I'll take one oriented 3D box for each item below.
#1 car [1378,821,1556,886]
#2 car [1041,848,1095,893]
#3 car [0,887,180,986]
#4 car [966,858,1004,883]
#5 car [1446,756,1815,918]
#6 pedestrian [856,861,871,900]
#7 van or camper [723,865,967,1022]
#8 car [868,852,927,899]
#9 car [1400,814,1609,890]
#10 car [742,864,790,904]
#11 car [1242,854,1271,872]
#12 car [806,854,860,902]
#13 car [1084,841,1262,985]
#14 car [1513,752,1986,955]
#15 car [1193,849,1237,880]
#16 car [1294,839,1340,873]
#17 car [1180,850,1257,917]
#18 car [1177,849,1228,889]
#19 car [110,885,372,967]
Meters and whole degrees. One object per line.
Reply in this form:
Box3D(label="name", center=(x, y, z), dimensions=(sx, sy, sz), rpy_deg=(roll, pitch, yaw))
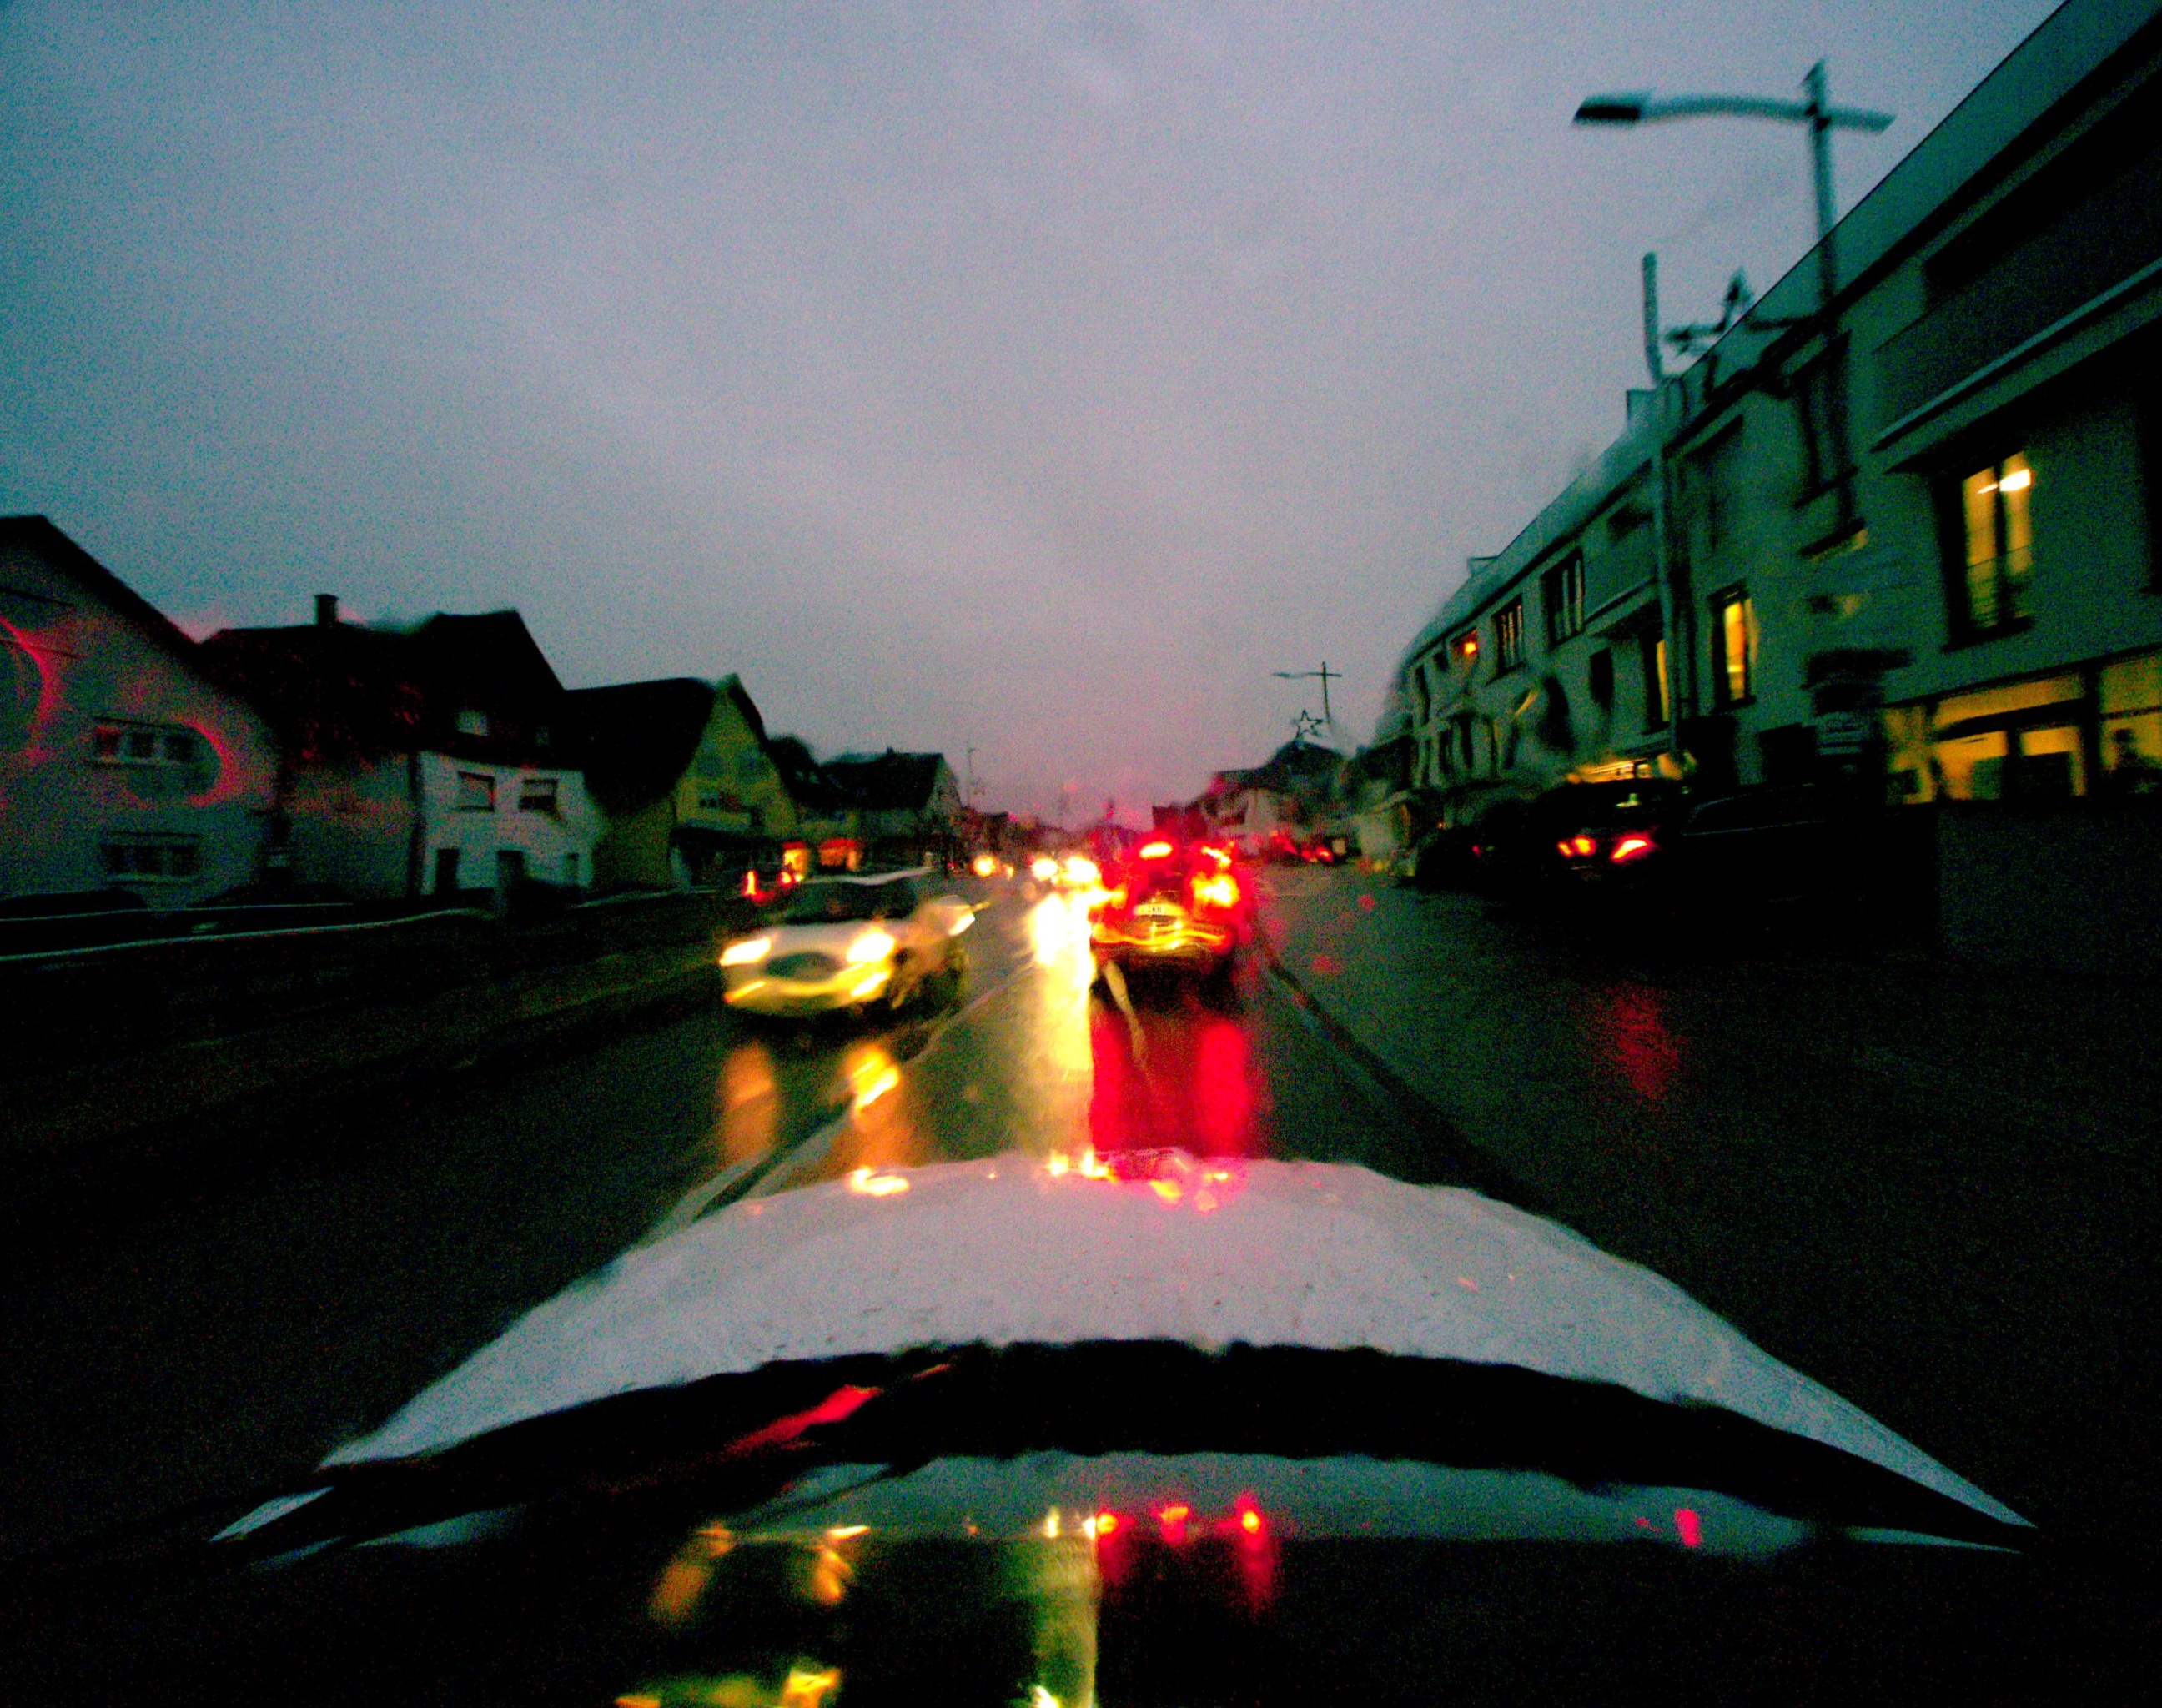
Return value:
Box3D(label="car", center=(10.985, 0.000, 23.386), dimensions=(4.190, 1.460, 1.793), rpy_deg=(-5, -1, 1))
Box3D(label="car", center=(-0.470, 0.631, 33.565), dimensions=(1.729, 1.653, 4.006), rpy_deg=(-2, 0, 5))
Box3D(label="car", center=(-20.833, 1.622, 15.792), dimensions=(1.904, 1.682, 4.218), rpy_deg=(-2, 0, 1))
Box3D(label="car", center=(-7.438, 1.265, 63.369), dimensions=(1.983, 1.417, 4.009), rpy_deg=(-4, 5, 6))
Box3D(label="car", center=(8.874, -0.233, 13.555), dimensions=(4.541, 1.920, 1.953), rpy_deg=(-8, -2, 5))
Box3D(label="pedestrian", center=(-9.716, 1.163, 36.424), dimensions=(0.497, 1.701, 0.708), rpy_deg=(-4, 0, -20))
Box3D(label="van or camper", center=(-2.450, 0.863, 9.334), dimensions=(1.555, 1.355, 3.425), rpy_deg=(-3, 0, 3))
Box3D(label="car", center=(-8.366, 0.937, 36.869), dimensions=(2.044, 1.925, 4.029), rpy_deg=(-2, 0, -20))
Box3D(label="car", center=(10.431, -0.042, 20.300), dimensions=(4.190, 1.460, 1.793), rpy_deg=(-5, -1, 1))
Box3D(label="car", center=(-13.943, 1.280, 36.256), dimensions=(1.828, 1.613, 4.029), rpy_deg=(-2, 0, -20))
Box3D(label="car", center=(15.246, 0.794, 70.944), dimensions=(1.561, 1.413, 3.599), rpy_deg=(-6, -1, -1))
Box3D(label="car", center=(-11.046, 1.035, 36.122), dimensions=(2.044, 1.925, 4.029), rpy_deg=(-2, 0, -20))
Box3D(label="car", center=(1.309, 0.651, 11.254), dimensions=(1.953, 1.594, 4.323), rpy_deg=(-1, 0, 8))
Box3D(label="car", center=(7.918, -0.011, 9.951), dimensions=(4.164, 1.638, 1.803), rpy_deg=(-9, 0, -1))
Box3D(label="car", center=(6.795, 0.501, 41.568), dimensions=(1.983, 1.391, 4.008), rpy_deg=(-2, 0, 7))
Box3D(label="car", center=(16.187, 0.091, 55.672), dimensions=(2.138, 1.991, 4.526), rpy_deg=(-6, -1, 26))
Box3D(label="car", center=(3.360, 0.656, 20.292), dimensions=(1.673, 1.453, 4.009), rpy_deg=(-2, 0, 8))
Box3D(label="car", center=(4.725, 0.541, 31.534), dimensions=(1.804, 1.412, 4.010), rpy_deg=(-1, 0, 9))
Box3D(label="car", center=(-20.592, 1.689, 20.280), dimensions=(1.902, 1.562, 4.223), rpy_deg=(-2, 0, 4))
